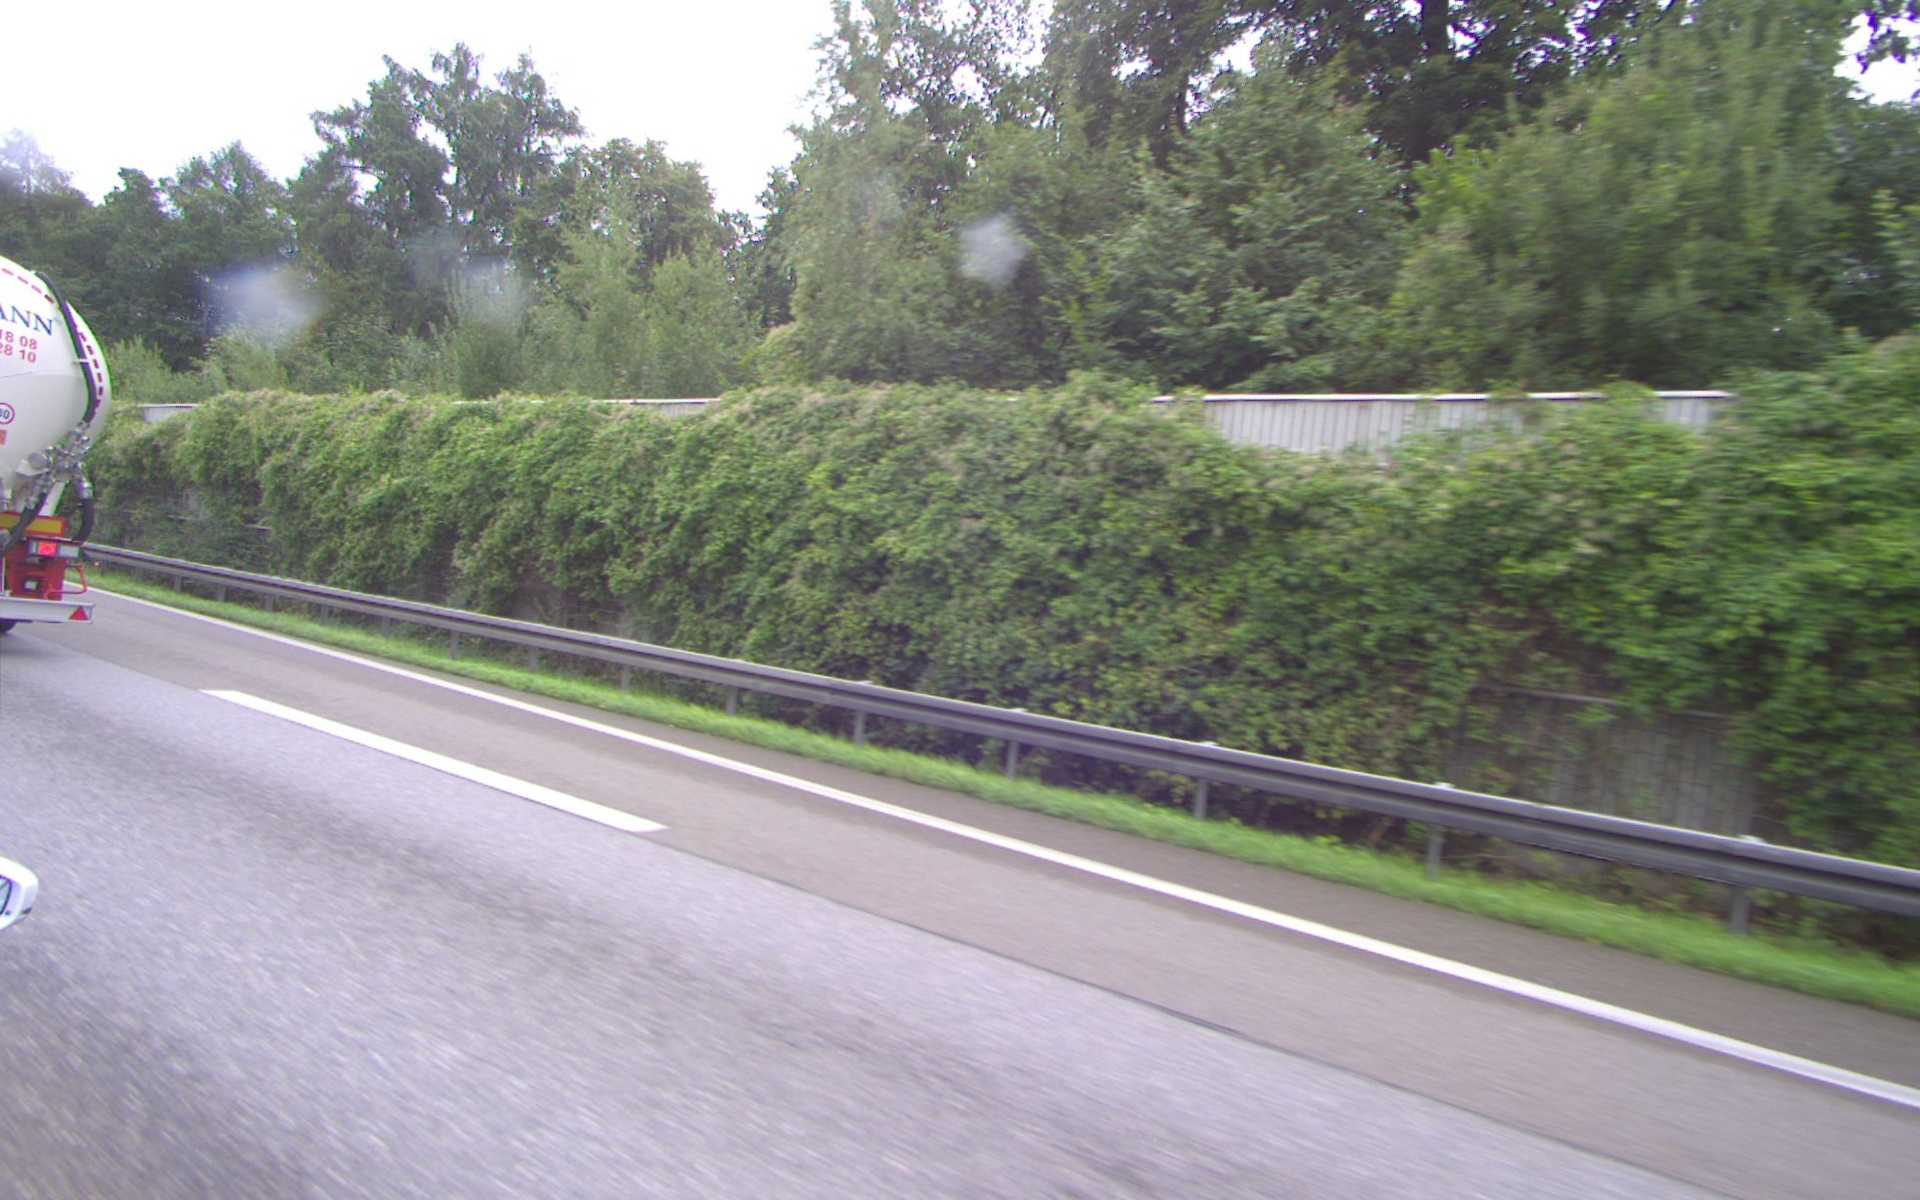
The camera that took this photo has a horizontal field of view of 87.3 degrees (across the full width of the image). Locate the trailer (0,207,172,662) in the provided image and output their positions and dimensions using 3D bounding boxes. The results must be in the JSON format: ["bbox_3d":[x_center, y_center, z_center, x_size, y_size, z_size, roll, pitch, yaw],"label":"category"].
[{"bbox_3d":[-14.171,-2.082,12.248,12.913,3.986,2.672,6,-1,32],"label":"trailer"}]
